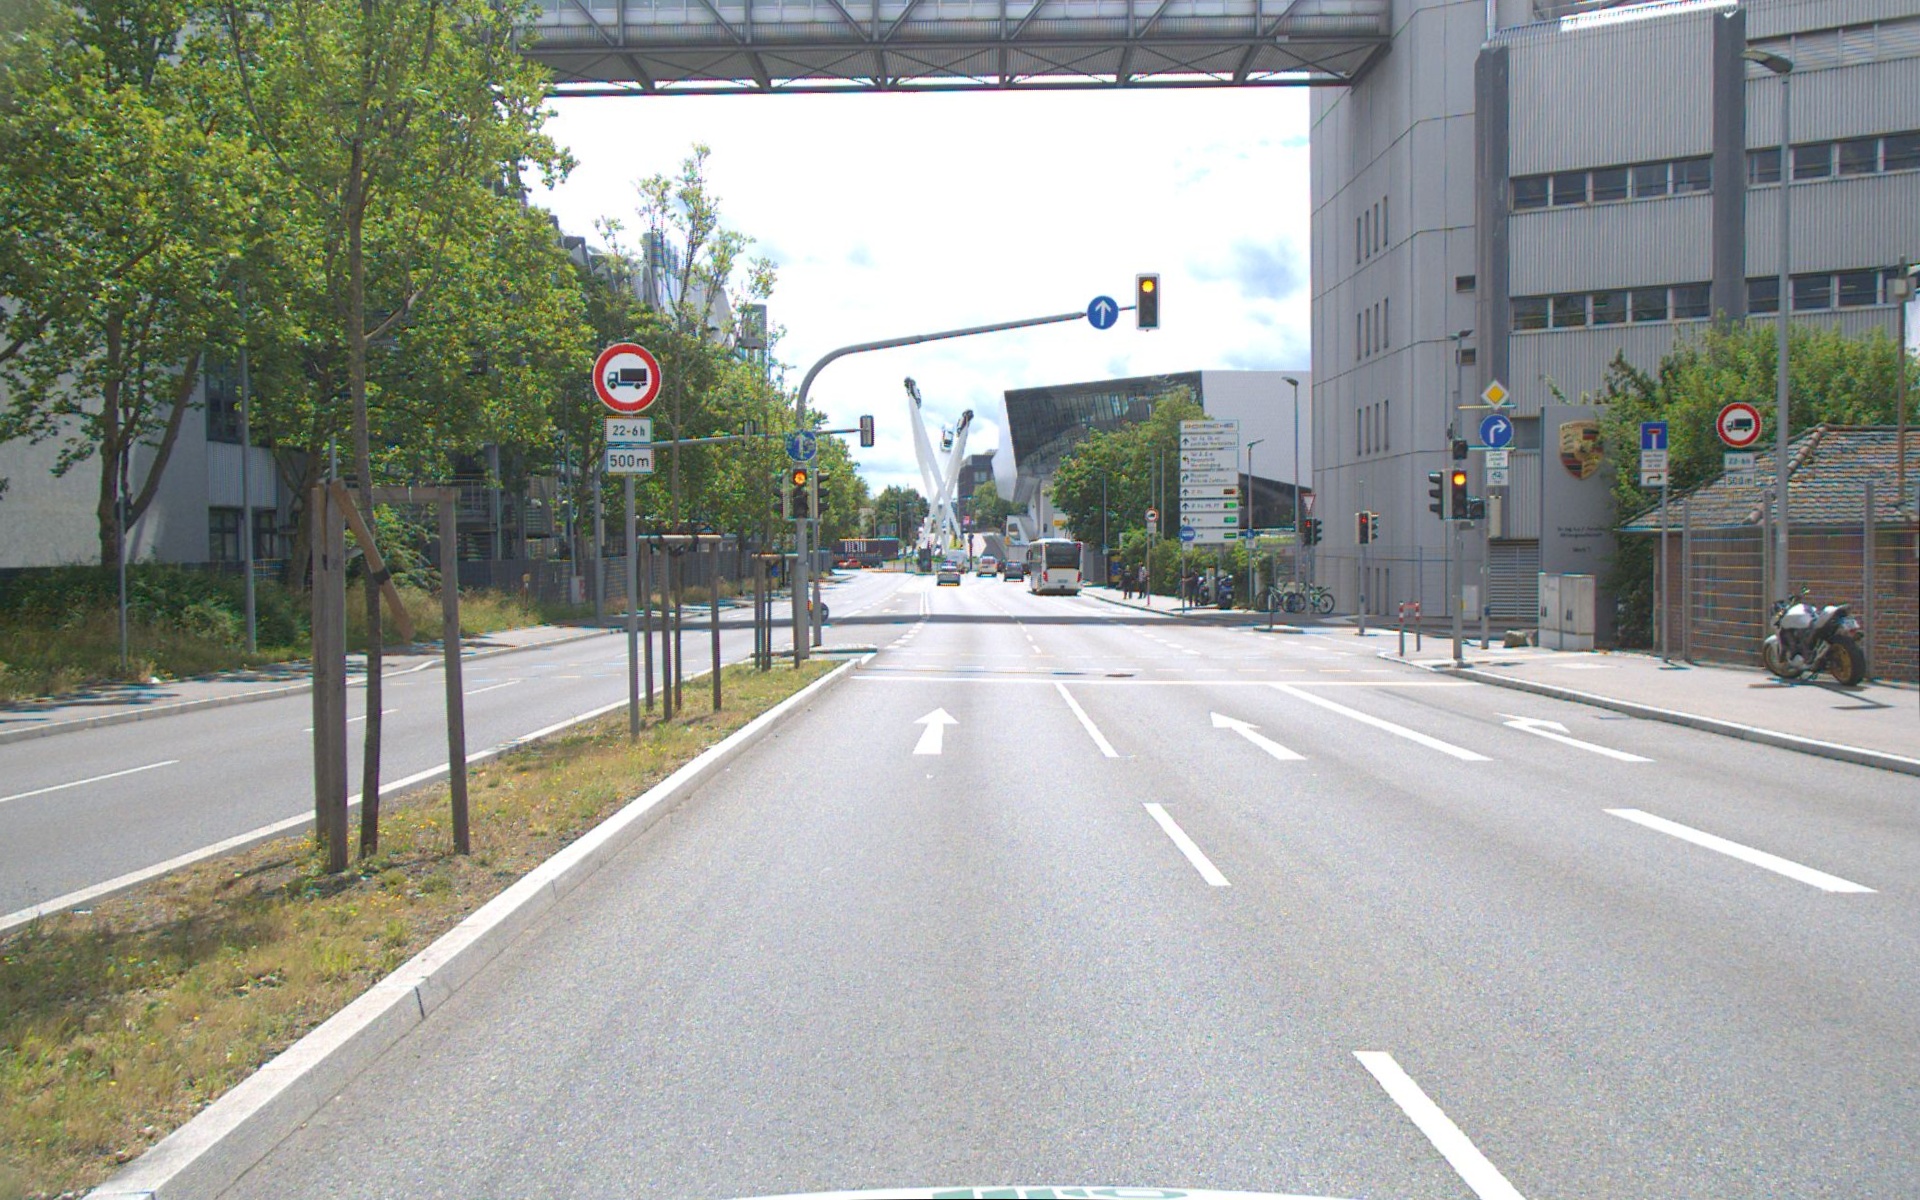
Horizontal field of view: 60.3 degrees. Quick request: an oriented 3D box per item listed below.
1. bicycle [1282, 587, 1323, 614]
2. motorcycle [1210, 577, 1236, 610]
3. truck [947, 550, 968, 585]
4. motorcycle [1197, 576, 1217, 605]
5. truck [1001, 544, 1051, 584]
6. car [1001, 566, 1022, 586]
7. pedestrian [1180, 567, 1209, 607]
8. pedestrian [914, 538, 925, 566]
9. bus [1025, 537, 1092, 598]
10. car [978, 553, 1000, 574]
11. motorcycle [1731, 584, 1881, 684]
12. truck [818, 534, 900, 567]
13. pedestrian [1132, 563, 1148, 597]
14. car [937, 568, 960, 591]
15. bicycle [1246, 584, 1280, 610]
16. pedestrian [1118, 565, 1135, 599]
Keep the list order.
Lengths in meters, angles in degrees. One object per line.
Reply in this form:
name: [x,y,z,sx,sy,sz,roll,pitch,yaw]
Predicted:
bicycle: [12.226,0.008,59.070,0.392,0.953,1.913,0,1,-25]
motorcycle: [10.349,-0.272,65.218,0.692,1.224,2.024,-2,2,0]
truck: [-0.223,-3.689,189.161,2.343,3.965,6.177,0,1,0]
motorcycle: [10.883,-0.436,72.923,0.562,1.224,2.024,-2,2,0]
truck: [7.700,-4.138,191.852,3.380,4.468,9.425,1,1,18]
car: [4.570,-2.164,147.200,1.702,1.772,3.691,0,1,0]
pedestrian: [9.796,-0.556,69.154,0.835,1.653,0.951,1,1,41]
pedestrian: [-5.402,-6.449,221.083,1.387,3.663,1.283,0,0,-1]
bus: [6.086,-2.000,103.775,3.382,3.605,10.604,0,1,-1]
car: [2.995,-3.782,171.879,1.953,2.049,3.998,1,0,-2]
motorcycle: [10.819,0.404,21.241,0.679,1.178,2.146,-2,1,-5]
truck: [-15.012,-7.341,246.766,12.021,4.399,3.532,1,-1,-34]
pedestrian: [9.250,-1.022,84.982,0.623,1.772,0.822,0,1,-6]
car: [-0.887,-1.564,127.371,1.702,1.772,3.691,0,1,0]
bicycle: [11.232,-0.112,61.360,0.391,0.953,1.918,0,1,-18]
pedestrian: [8.612,-0.948,85.436,0.803,1.737,0.881,0,1,0]
